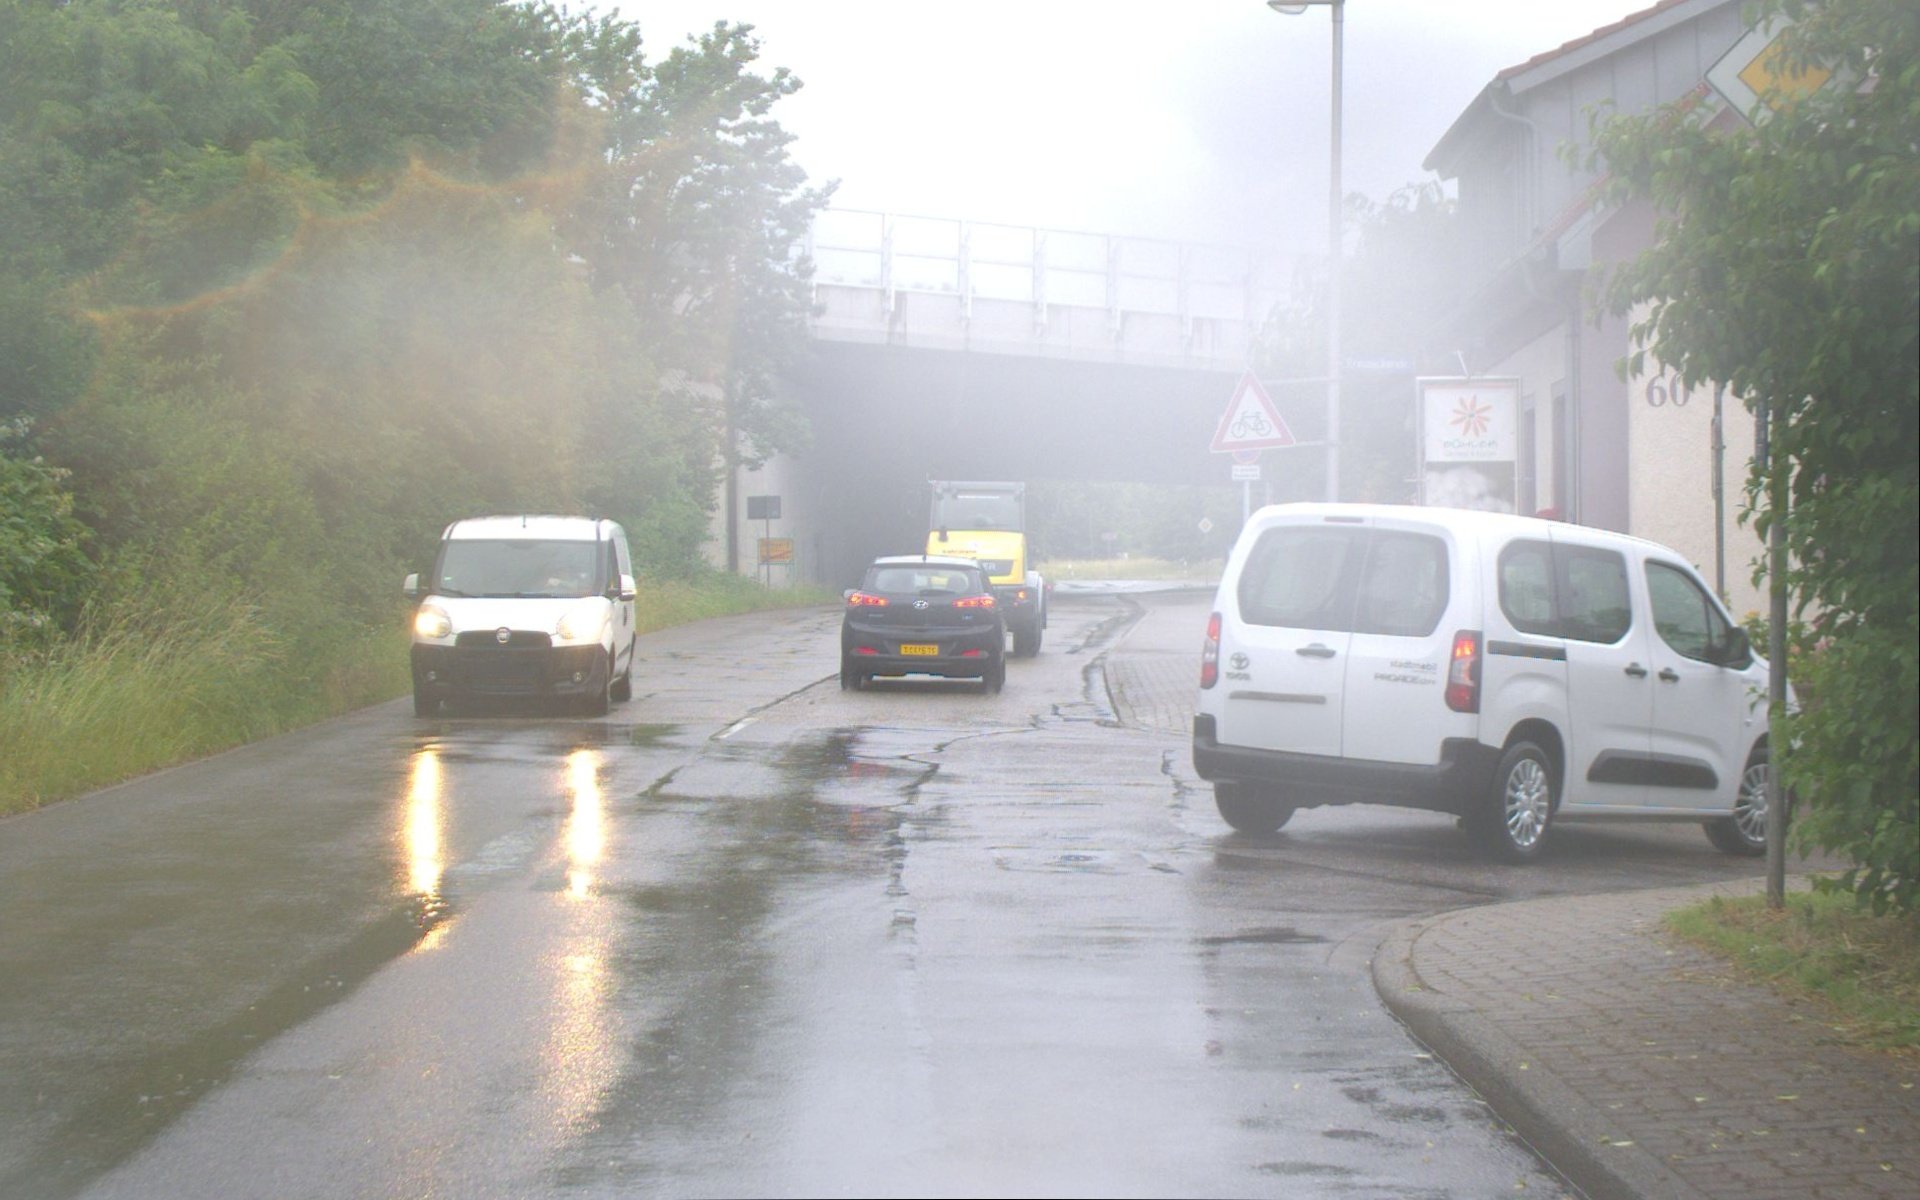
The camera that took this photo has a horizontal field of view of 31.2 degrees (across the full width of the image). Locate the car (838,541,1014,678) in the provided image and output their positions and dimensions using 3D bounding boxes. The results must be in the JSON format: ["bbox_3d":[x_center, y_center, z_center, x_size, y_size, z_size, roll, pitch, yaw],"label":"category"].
[{"bbox_3d":[-0.330,0.074,37.940,1.709,1.373,4.000,2,1,2],"label":"car"}]

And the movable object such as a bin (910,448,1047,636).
[{"bbox_3d":[0.308,-0.827,49.680,1.761,2.539,4.239,2,1,2],"label":"movable object such as a bin"}]

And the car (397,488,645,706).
[{"bbox_3d":[-3.963,-0.054,31.653,1.823,1.825,4.308,2,1,-2],"label":"car"}]

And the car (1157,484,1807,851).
[{"bbox_3d":[2.983,0.276,19.014,1.901,1.800,3.992,1,2,37],"label":"car"}]
